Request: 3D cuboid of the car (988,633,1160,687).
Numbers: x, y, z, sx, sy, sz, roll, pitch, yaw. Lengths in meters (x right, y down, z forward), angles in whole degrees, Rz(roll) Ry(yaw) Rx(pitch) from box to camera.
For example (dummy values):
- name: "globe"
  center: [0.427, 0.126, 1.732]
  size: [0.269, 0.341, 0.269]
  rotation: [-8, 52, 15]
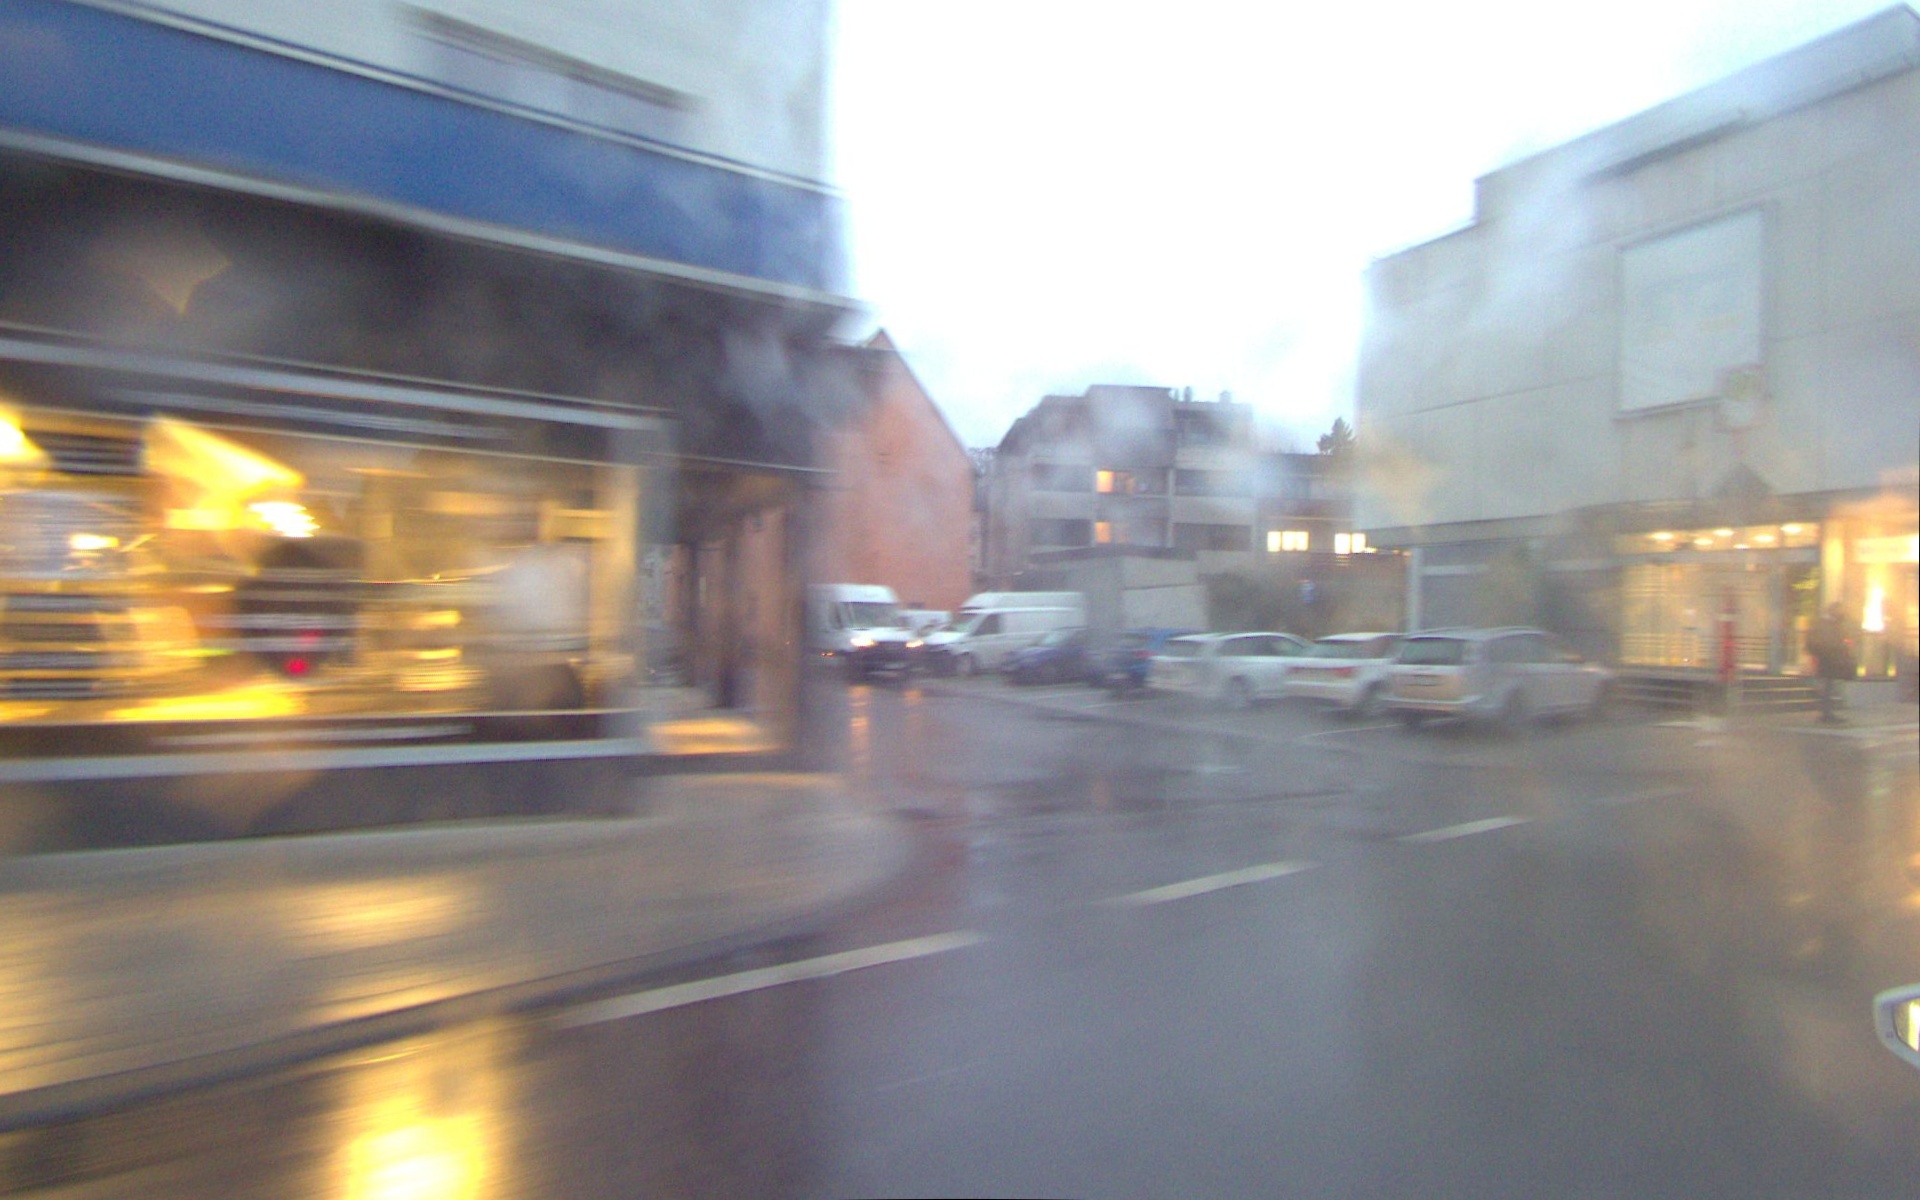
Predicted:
- name: "car"
  center: [3.100, 1.575, 27.263]
  size: [4.386, 1.251, 1.694]
  rotation: [-1, -1, -23]

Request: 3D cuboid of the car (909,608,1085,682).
- name: "car"
  center: [1.138, 1.278, 29.793]
  size: [5.100, 1.990, 1.690]
  rotation: [-1, -1, -29]

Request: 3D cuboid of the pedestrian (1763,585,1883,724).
- name: "pedestrian"
  center: [12.839, 0.783, 14.953]
  size: [1.186, 1.964, 0.970]
  rotation: [1, -1, -26]

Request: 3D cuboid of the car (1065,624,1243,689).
- name: "car"
  center: [5.052, 1.421, 26.108]
  size: [4.388, 1.483, 1.693]
  rotation: [-1, -1, -24]

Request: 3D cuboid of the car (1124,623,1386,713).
- name: "car"
  center: [5.956, 1.275, 20.216]
  size: [4.978, 1.520, 2.095]
  rotation: [-1, -1, -27]

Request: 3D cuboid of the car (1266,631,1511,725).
- name: "car"
  center: [7.750, 1.321, 18.089]
  size: [4.394, 1.419, 1.691]
  rotation: [-1, -1, -28]

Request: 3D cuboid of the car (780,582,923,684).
- name: "car"
  center: [-3.419, 0.969, 29.993]
  size: [1.952, 2.697, 6.719]
  rotation: [2, -2, -27]

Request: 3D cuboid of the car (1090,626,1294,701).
- name: "car"
  center: [5.285, 1.383, 22.841]
  size: [4.388, 1.483, 1.693]
  rotation: [-1, -1, -24]

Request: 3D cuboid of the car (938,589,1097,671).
- name: "car"
  center: [1.936, 0.949, 33.182]
  size: [5.097, 2.525, 1.691]
  rotation: [-1, -1, -28]

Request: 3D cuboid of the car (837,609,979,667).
- name: "car"
  center: [-1.899, 1.368, 37.229]
  size: [4.936, 1.991, 1.788]
  rotation: [-1, -1, -28]

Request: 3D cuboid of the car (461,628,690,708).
- name: "car"
  center: [-8.302, 1.402, 22.018]
  size: [1.678, 1.483, 4.427]
  rotation: [-1, -1, 41]

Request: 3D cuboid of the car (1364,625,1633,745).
- name: "car"
  center: [8.398, 1.201, 15.545]
  size: [4.401, 1.520, 1.754]
  rotation: [-1, -1, -33]
